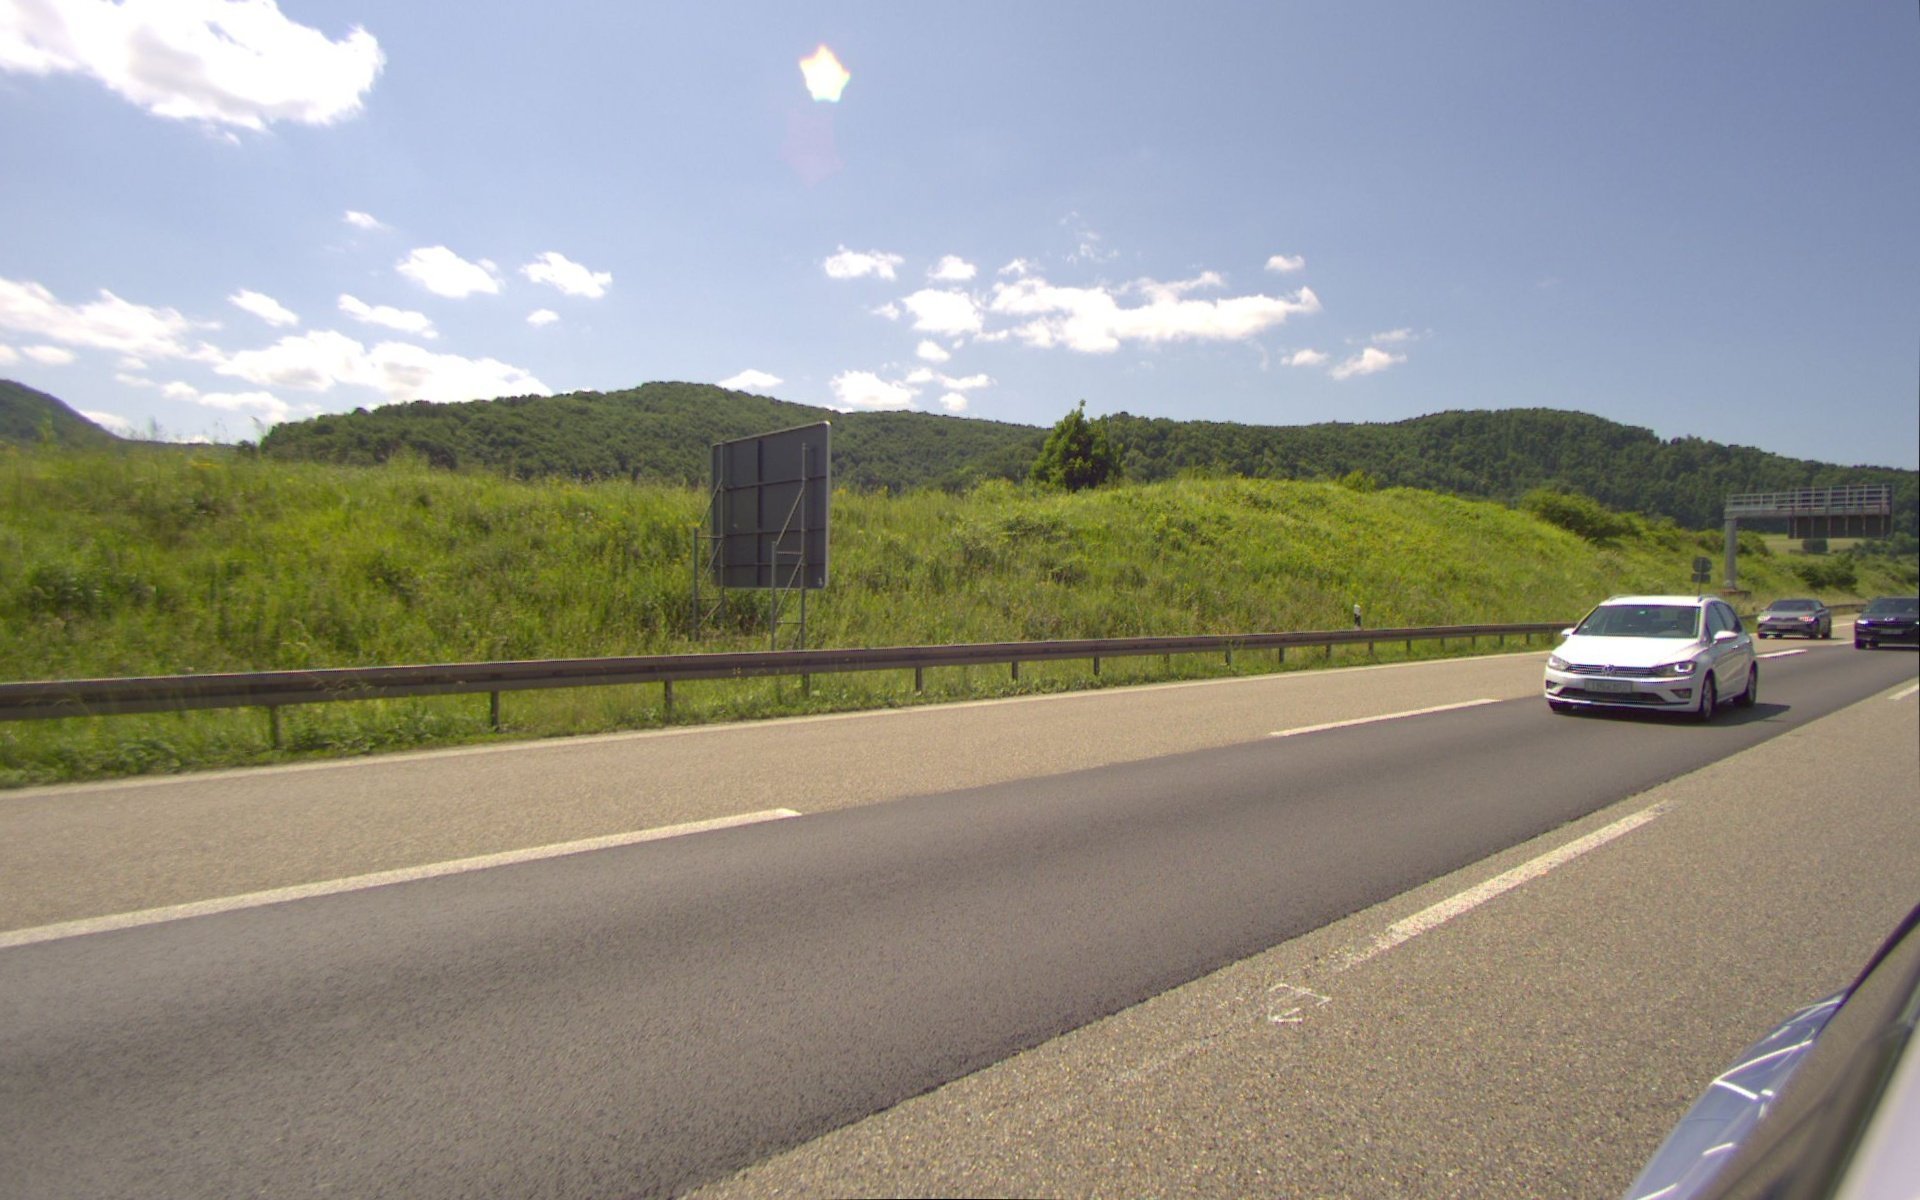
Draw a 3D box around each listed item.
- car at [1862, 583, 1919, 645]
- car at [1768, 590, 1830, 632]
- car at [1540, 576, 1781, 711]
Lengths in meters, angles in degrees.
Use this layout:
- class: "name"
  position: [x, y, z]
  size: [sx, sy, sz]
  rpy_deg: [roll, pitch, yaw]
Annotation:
- class: "car"
  position: [29.607, 0.412, 31.494]
  size: [4.100, 1.794, 1.891]
  rpy_deg: [0, 1, -43]
- class: "car"
  position: [33.607, 0.396, 40.486]
  size: [1.679, 1.615, 4.183]
  rpy_deg: [0, 0, 43]
- class: "car"
  position: [9.567, 0.489, 13.718]
  size: [3.983, 1.560, 1.775]
  rpy_deg: [0, 0, -41]
